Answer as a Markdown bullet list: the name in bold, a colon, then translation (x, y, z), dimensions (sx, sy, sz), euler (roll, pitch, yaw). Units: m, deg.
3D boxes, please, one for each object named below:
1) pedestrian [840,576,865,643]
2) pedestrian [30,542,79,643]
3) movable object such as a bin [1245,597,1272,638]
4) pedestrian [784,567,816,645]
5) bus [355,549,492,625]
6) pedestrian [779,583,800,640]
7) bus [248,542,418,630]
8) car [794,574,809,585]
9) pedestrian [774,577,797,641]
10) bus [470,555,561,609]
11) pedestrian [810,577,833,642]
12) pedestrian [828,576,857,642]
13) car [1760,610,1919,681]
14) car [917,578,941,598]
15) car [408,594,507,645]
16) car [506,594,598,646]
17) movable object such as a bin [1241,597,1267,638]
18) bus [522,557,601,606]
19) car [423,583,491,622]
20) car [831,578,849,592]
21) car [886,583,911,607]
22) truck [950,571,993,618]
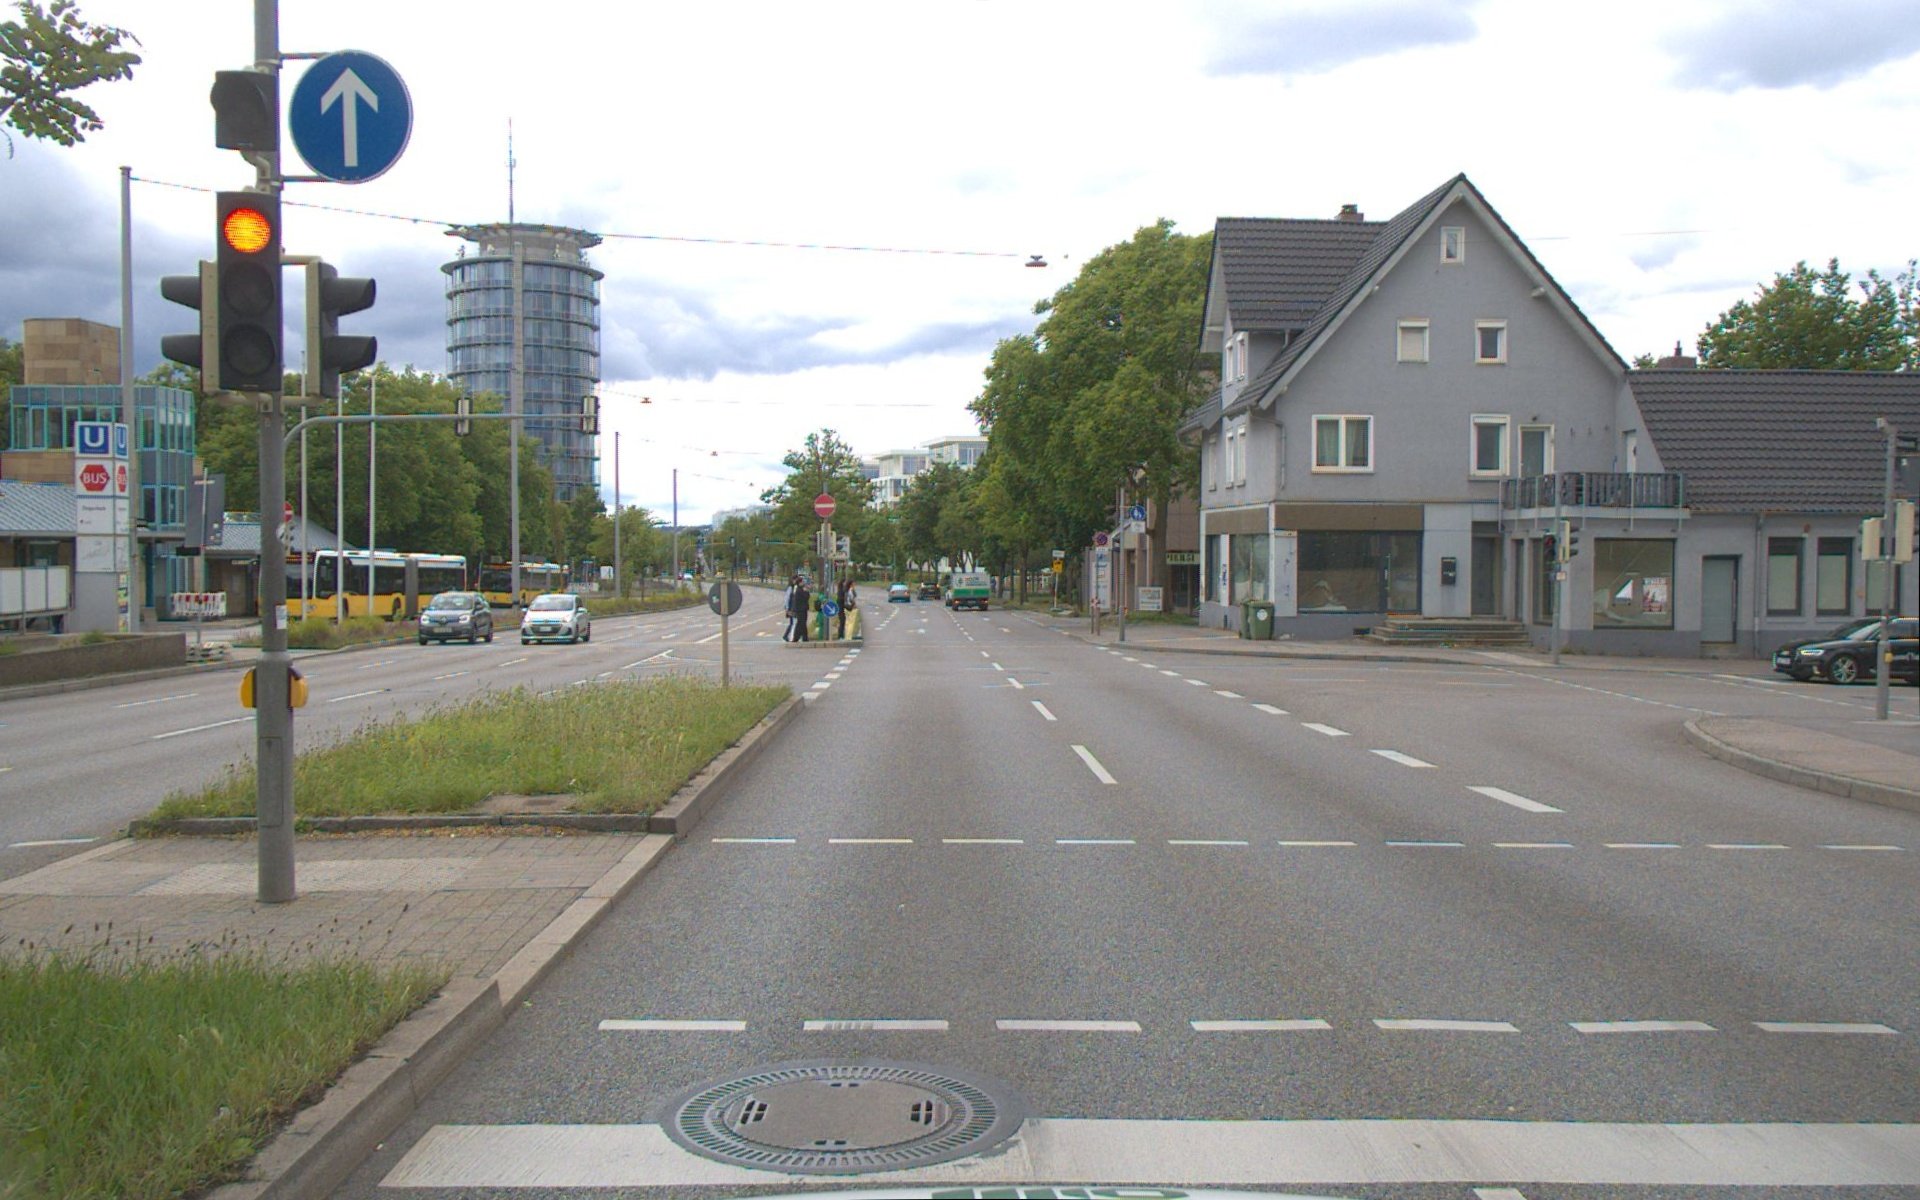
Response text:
- **pedestrian**: translation (-2.859, 0.248, 43.926), dimensions (0.641, 1.746, 0.451), euler (0, 0, -8)
- **pedestrian**: translation (-18.658, -0.161, 34.076), dimensions (0.668, 2.049, 0.645), euler (0, 0, -5)
- **movable object such as a bin**: translation (7.950, 0.466, 44.016), dimensions (0.592, 1.078, 0.589), euler (1, 0, 1)
- **pedestrian**: translation (-4.233, 0.147, 43.715), dimensions (0.814, 2.049, 0.545), euler (0, 0, -8)
- **bus**: translation (-26.483, -0.633, 82.356), dimensions (2.772, 3.490, 10.737), euler (0, 0, 3)
- **pedestrian**: translation (-4.575, 0.308, 44.363), dimensions (0.533, 1.522, 0.485), euler (0, 0, -11)
- **bus**: translation (-27.017, -0.588, 71.941), dimensions (2.772, 3.490, 10.737), euler (0, 0, 3)
- **car**: translation (-23.712, -3.011, 247.065), dimensions (1.957, 1.579, 3.991), euler (-1, 0, -10)
- **pedestrian**: translation (-4.782, 0.238, 45.196), dimensions (0.601, 1.746, 0.545), euler (0, 0, -8)
- **bus**: translation (-30.388, -1.194, 113.636), dimensions (2.772, 3.490, 10.737), euler (0, 0, 3)
- **pedestrian**: translation (-3.785, 0.263, 45.193), dimensions (0.572, 1.746, 0.545), euler (0, 0, -8)
- **pedestrian**: translation (-3.174, 0.238, 44.490), dimensions (0.731, 1.746, 0.582), euler (0, 0, -8)
- **car**: translation (19.557, 0.985, 35.386), dimensions (4.006, 1.395, 1.799), euler (2, 0, -2)
- **car**: translation (-2.642, -0.999, 139.891), dimensions (1.953, 1.579, 3.999), euler (1, 0, -1)
- **car**: translation (-15.457, 0.576, 51.105), dimensions (1.953, 1.512, 3.998), euler (-1, 0, -2)
- **car**: translation (-12.449, 0.567, 50.739), dimensions (1.953, 1.512, 3.998), euler (-1, 0, -2)
- **movable object such as a bin**: translation (7.948, 0.470, 44.732), dimensions (0.603, 1.061, 0.589), euler (1, 0, 1)
- **bus**: translation (-29.823, -1.341, 124.386), dimensions (2.772, 3.490, 10.737), euler (0, 0, 3)
- **car**: translation (-22.589, 0.093, 74.403), dimensions (1.769, 1.691, 4.000), euler (0, 0, 0)
- **car**: translation (-12.769, -1.603, 176.031), dimensions (1.954, 1.545, 3.996), euler (0, 1, -5)
- **car**: translation (-4.906, -0.441, 132.260), dimensions (1.953, 1.862, 3.999), euler (0, 0, -1)
- **truck**: translation (0.674, -0.382, 99.110), dimensions (2.420, 2.656, 6.548), euler (1, 1, 0)
